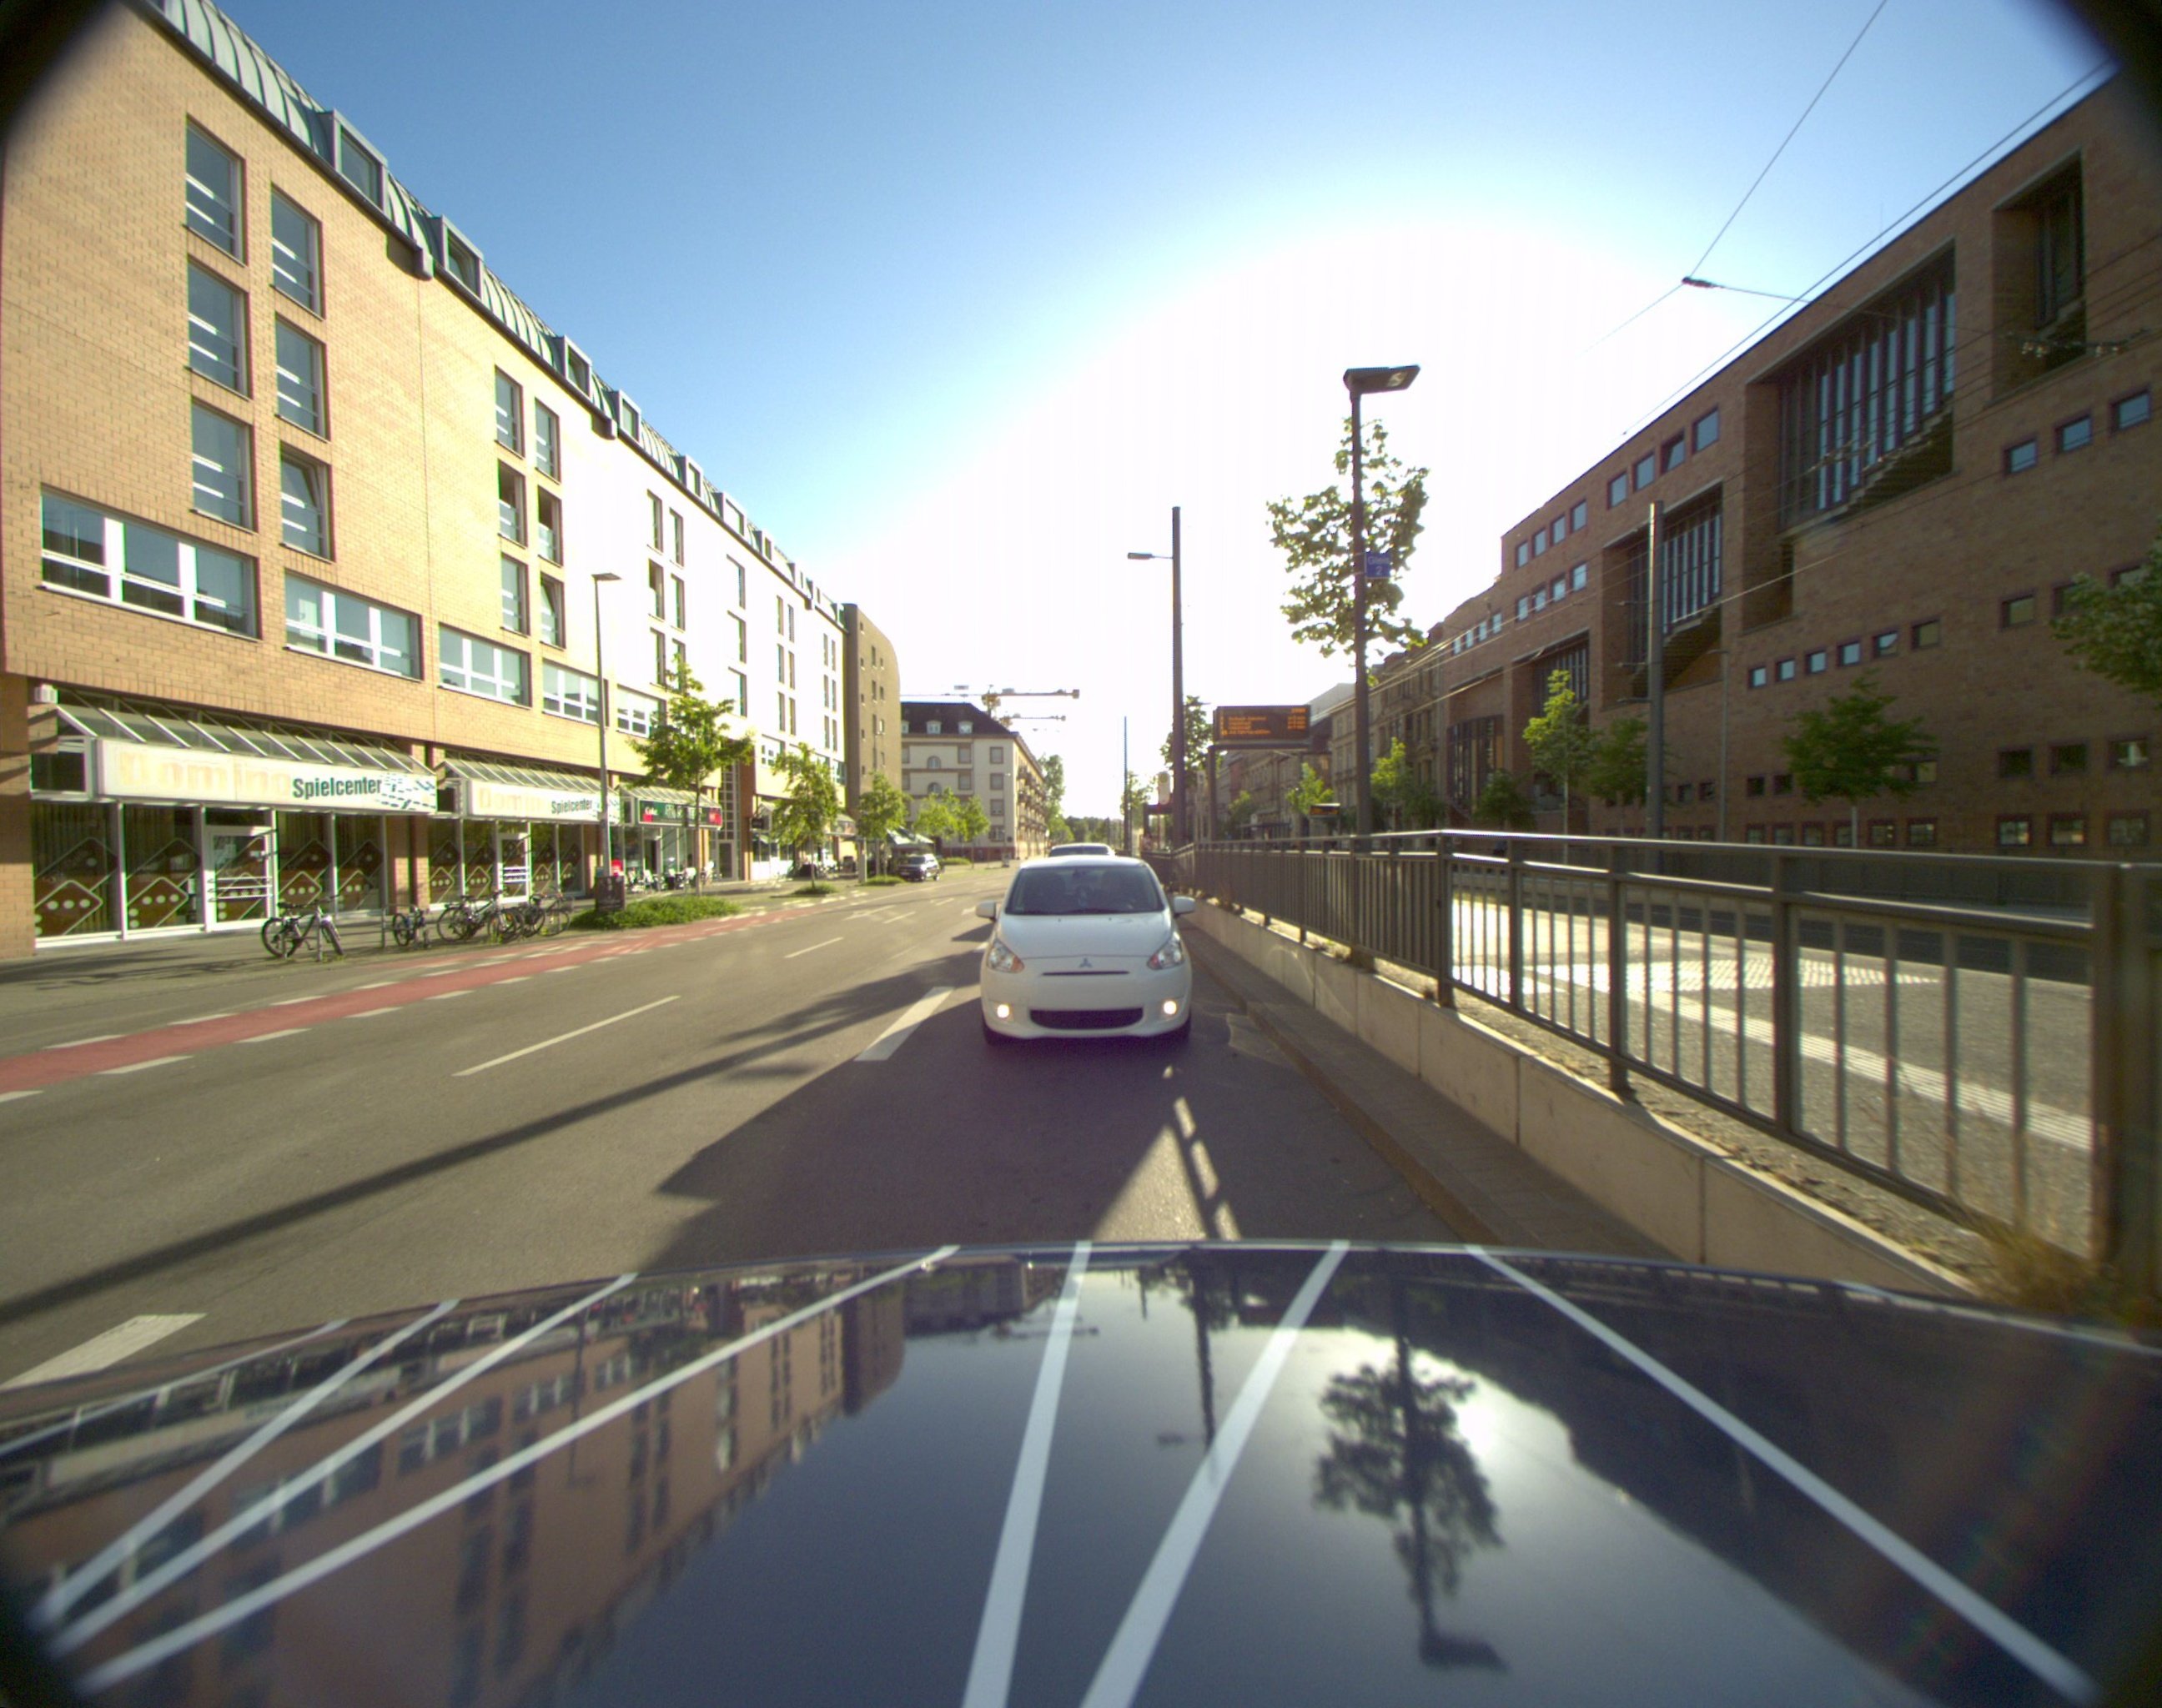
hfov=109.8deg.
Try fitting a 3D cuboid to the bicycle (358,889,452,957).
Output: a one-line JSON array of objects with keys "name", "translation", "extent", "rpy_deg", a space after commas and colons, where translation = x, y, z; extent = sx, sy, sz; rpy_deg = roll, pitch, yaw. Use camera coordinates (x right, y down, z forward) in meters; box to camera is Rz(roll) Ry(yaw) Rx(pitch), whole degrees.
[{"name": "bicycle", "translation": [-12.789, 1.282, 14.376], "extent": [1.771, 1.142, 0.554], "rpy_deg": [1, 3, 21]}]

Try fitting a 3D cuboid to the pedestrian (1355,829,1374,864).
[{"name": "pedestrian", "translation": [14.257, -0.359, 38.190], "extent": [0.692, 1.732, 0.586], "rpy_deg": [-1, 1, -2]}]

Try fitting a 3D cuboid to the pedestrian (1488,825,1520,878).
[{"name": "pedestrian", "translation": [13.963, -0.087, 25.091], "extent": [0.692, 1.732, 0.586], "rpy_deg": [-1, 1, -2]}]

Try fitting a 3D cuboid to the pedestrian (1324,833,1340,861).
[{"name": "pedestrian", "translation": [14.315, -0.413, 43.373], "extent": [0.692, 1.566, 0.586], "rpy_deg": [-1, 1, -2]}]

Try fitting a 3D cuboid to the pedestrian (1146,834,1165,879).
[{"name": "pedestrian", "translation": [3.363, 0.105, 34.316], "extent": [0.784, 2.002, 0.880], "rpy_deg": [-1, 1, 0]}]

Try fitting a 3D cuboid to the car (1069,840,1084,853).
[{"name": "car", "translation": [-0.583, -1.027, 100.282], "extent": [1.829, 1.644, 3.682], "rpy_deg": [-1, 1, 1]}]

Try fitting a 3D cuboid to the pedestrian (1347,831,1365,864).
[{"name": "pedestrian", "translation": [14.270, -0.343, 39.461], "extent": [0.692, 1.732, 0.586], "rpy_deg": [-1, 1, -2]}]

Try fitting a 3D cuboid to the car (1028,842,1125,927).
[{"name": "car", "translation": [-0.068, 0.601, 17.842], "extent": [1.955, 1.652, 4.354], "rpy_deg": [-2, 1, 1]}]

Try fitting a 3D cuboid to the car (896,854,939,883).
[{"name": "car", "translation": [-9.865, 0.854, 46.094], "extent": [1.655, 1.521, 3.692], "rpy_deg": [-2, 1, 1]}]

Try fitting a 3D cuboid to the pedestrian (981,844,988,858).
[{"name": "pedestrian", "translation": [-11.618, -0.330, 91.128], "extent": [0.804, 1.656, 0.891], "rpy_deg": [-1, 1, -6]}]

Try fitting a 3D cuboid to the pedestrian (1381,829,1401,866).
[{"name": "pedestrian", "translation": [14.414, -0.308, 35.345], "extent": [0.692, 1.732, 0.586], "rpy_deg": [-1, 1, -2]}]

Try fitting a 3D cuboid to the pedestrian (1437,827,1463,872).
[{"name": "pedestrian", "translation": [14.454, -0.185, 29.768], "extent": [0.692, 1.732, 0.586], "rpy_deg": [-1, 1, -2]}]

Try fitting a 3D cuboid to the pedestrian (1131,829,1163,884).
[{"name": "pedestrian", "translation": [2.433, 0.089, 28.068], "extent": [0.882, 2.002, 0.782], "rpy_deg": [-2, 1, -41]}]

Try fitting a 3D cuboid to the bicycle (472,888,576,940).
[{"name": "bicycle", "translation": [-12.369, 1.323, 16.919], "extent": [1.774, 1.065, 0.737], "rpy_deg": [0, 3, 3]}]

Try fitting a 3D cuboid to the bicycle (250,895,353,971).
[{"name": "bicycle", "translation": [-13.347, 1.330, 13.007], "extent": [1.771, 1.142, 0.554], "rpy_deg": [1, 3, 21]}]

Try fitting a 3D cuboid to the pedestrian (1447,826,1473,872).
[{"name": "pedestrian", "translation": [14.464, -0.184, 29.016], "extent": [0.692, 1.732, 0.586], "rpy_deg": [-1, 1, -2]}]

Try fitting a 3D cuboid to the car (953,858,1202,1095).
[{"name": "car", "translation": [0.002, 0.848, 7.264], "extent": [1.640, 1.458, 4.185], "rpy_deg": [-2, 1, 1]}]

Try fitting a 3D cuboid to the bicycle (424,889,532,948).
[{"name": "bicycle", "translation": [-12.308, 1.306, 15.540], "extent": [1.774, 1.135, 0.553], "rpy_deg": [0, 3, 3]}]

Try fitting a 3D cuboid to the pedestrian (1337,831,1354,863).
[{"name": "pedestrian", "translation": [14.229, -0.383, 40.859], "extent": [0.692, 1.732, 0.586], "rpy_deg": [-1, 1, -2]}]
